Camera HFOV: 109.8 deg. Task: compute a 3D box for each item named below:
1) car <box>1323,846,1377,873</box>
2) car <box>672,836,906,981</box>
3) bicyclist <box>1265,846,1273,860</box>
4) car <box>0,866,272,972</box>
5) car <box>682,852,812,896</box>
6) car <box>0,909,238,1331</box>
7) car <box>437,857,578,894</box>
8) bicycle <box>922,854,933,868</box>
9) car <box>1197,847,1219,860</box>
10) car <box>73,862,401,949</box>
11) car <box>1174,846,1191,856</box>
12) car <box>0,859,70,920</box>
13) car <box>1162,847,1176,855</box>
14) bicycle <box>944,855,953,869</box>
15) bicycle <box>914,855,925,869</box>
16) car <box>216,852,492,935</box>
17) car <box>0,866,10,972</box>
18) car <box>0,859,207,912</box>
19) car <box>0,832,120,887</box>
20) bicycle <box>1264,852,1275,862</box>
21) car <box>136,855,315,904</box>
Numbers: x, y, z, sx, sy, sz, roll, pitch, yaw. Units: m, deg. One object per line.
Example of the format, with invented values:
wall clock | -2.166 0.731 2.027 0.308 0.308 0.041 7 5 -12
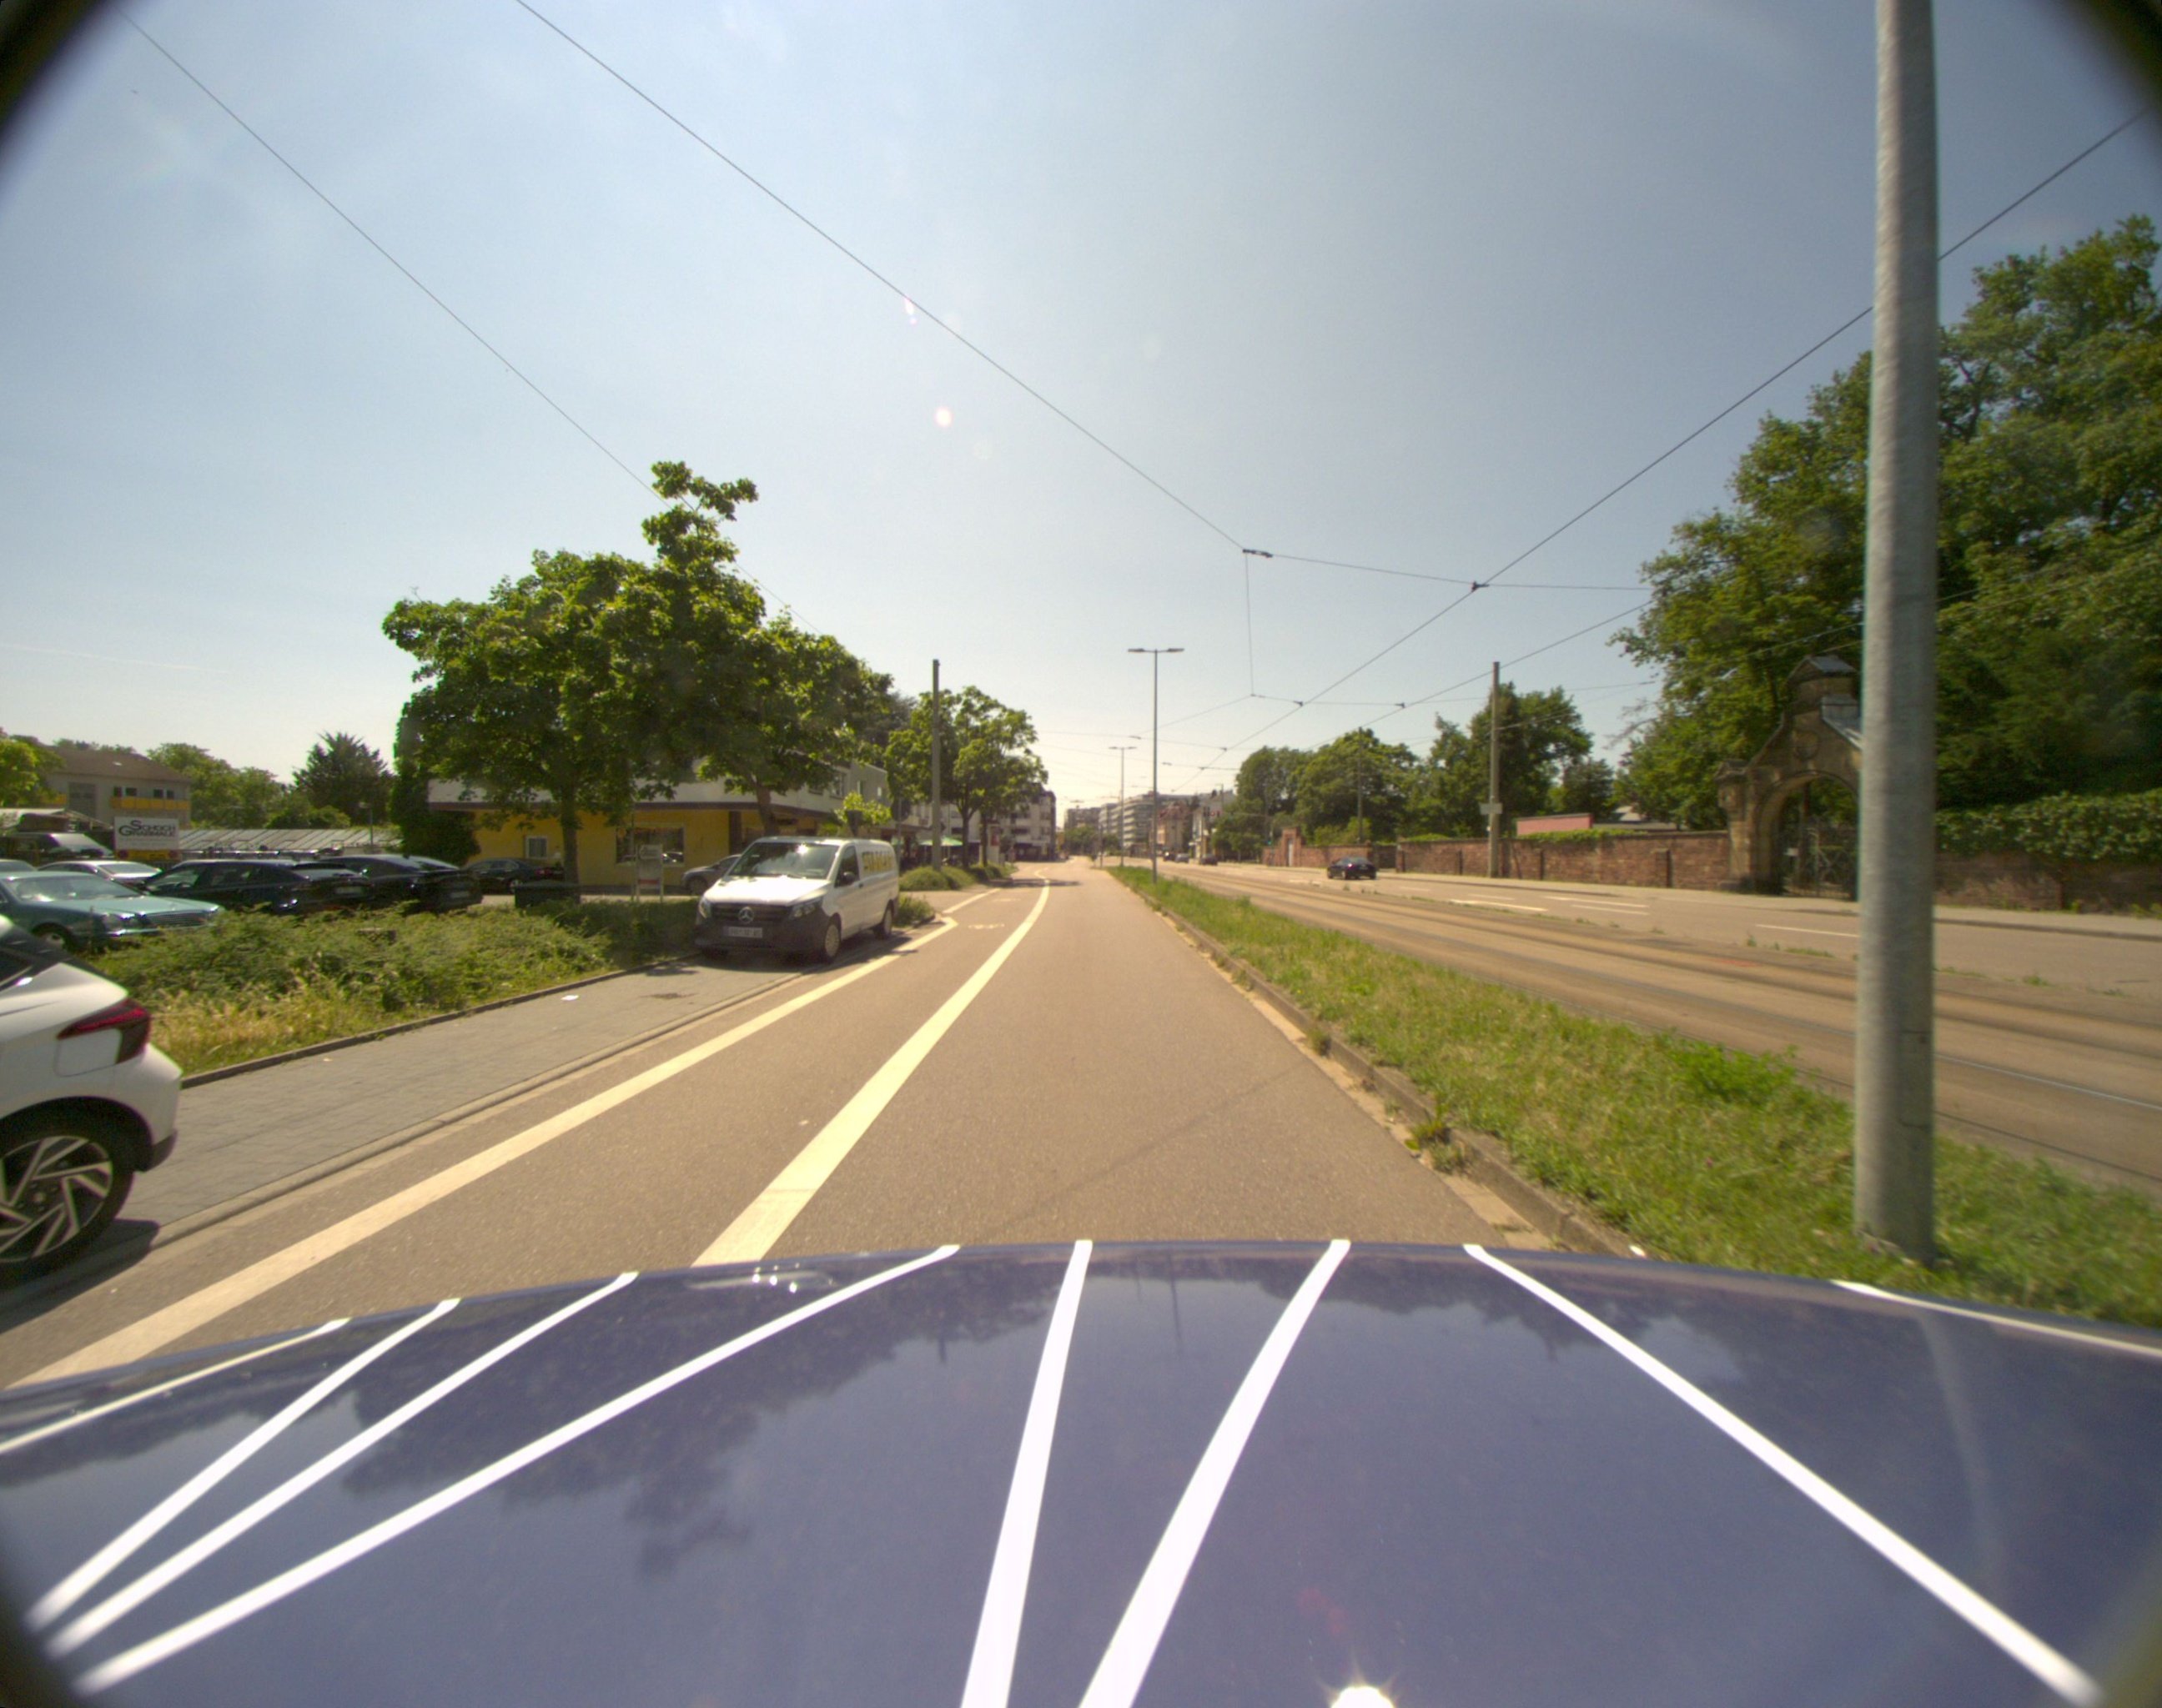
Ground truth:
car | 15.499 0.296 43.975 1.760 1.440 4.123 -2 1 2
car | -4.562 0.722 12.901 1.884 1.905 5.124 2 1 1
bicyclist | 19.582 -0.094 78.959 0.654 1.488 0.662 -1 1 -1
car | -14.846 0.940 11.195 3.896 1.317 1.727 -3 1 -1
car | -12.888 0.733 29.516 4.150 1.601 1.943 -1 1 -3
car | -4.735 0.993 1.365 1.726 1.420 4.208 2 1 1
car | -22.310 0.825 29.655 4.149 1.367 1.748 0 1 1
bicycle | -12.024 0.572 59.582 0.544 1.062 2.021 0 1 -4
car | 15.466 -0.071 92.904 1.845 1.408 5.033 -3 0 1
car | -15.115 0.880 13.781 3.896 1.273 1.727 -3 1 -1
car | 15.527 -0.451 116.390 1.845 1.408 4.710 -3 1 1
car | -28.540 0.855 19.141 3.989 1.436 1.632 1 1 1
car | 15.582 -0.539 134.462 1.845 1.546 4.465 0 1 0
bicycle | -10.356 0.583 59.466 0.544 1.062 2.021 0 1 -4
bicycle | -12.625 0.584 59.504 0.544 1.062 2.021 0 1 -4
car | -15.485 0.803 16.344 4.210 1.481 1.678 -3 1 -1
car | -15.379 0.905 8.613 3.896 1.317 1.727 -3 1 -1
car | -27.857 0.876 21.693 3.989 1.361 1.632 1 1 1
car | -47.528 0.227 34.538 5.085 2.400 2.000 0 1 0
bicycle | 19.580 0.281 78.938 0.654 0.951 2.114 -1 1 -1
car | -27.550 0.807 24.552 3.989 1.428 1.632 1 1 1
